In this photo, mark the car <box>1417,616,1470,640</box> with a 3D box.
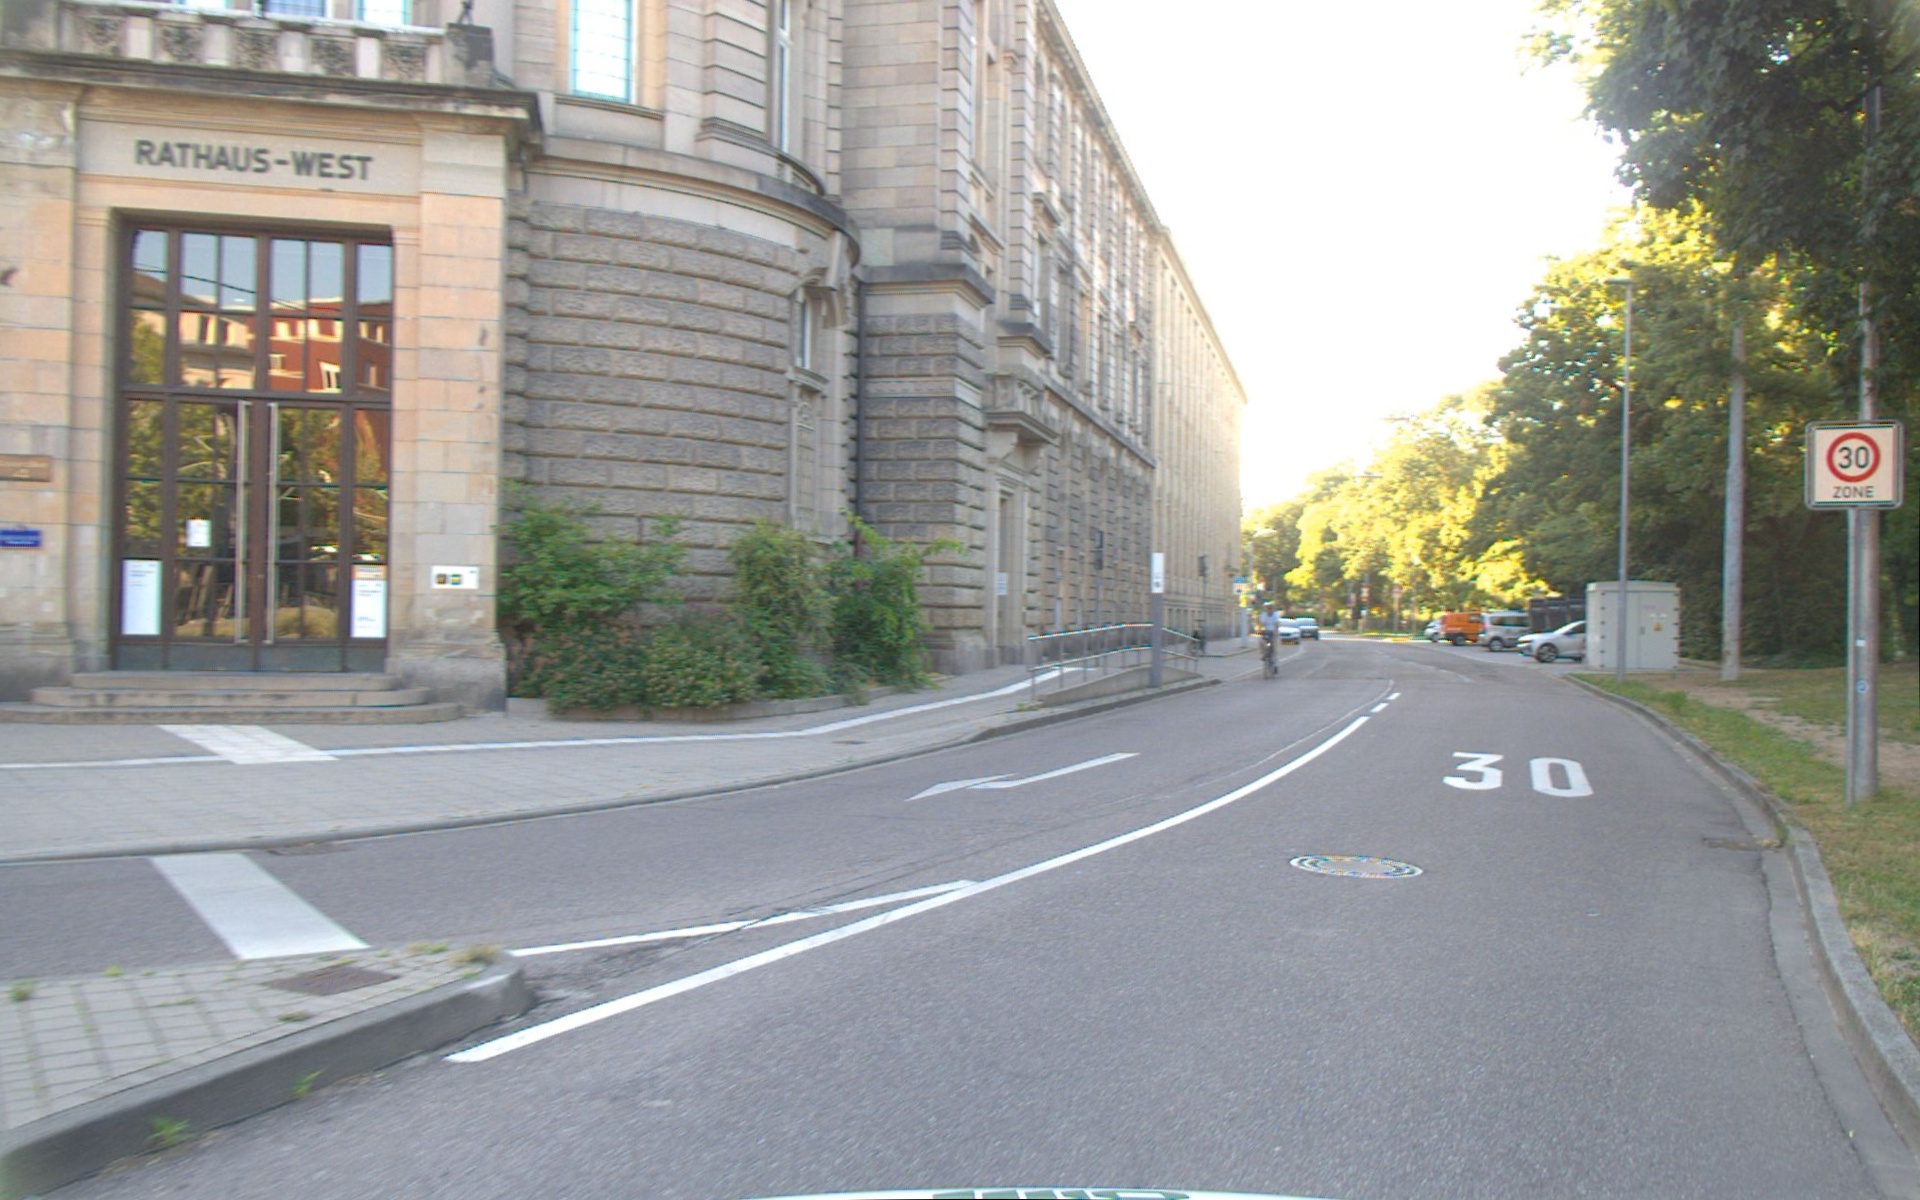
[{"bbox_3d":[31.815,1.838,108.841,3.077,1.529,1.541,-1,-1,6],"label":"car"}]

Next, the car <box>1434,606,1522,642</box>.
[{"bbox_3d":[30.767,1.442,98.412,4.716,2.049,1.803,-1,-1,6],"label":"car"}]

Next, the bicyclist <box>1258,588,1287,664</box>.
[{"bbox_3d":[7.572,0.626,40.053,0.631,1.838,0.781,0,-1,14],"label":"bicyclist"}]

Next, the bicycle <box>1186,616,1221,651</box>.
[{"bbox_3d":[8.216,1.110,55.641,0.834,1.120,1.983,3,0,17],"label":"bicycle"}]

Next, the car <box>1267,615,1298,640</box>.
[{"bbox_3d":[19.038,1.598,97.819,1.690,1.422,4.376,1,0,10],"label":"car"}]

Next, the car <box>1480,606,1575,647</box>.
[{"bbox_3d":[27.260,1.291,79.534,4.138,1.892,2.001,-1,-1,14],"label":"car"}]

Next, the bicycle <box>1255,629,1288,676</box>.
[{"bbox_3d":[7.527,1.243,39.907,0.648,1.089,2.155,0,-1,14],"label":"bicycle"}]

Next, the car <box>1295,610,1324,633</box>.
[{"bbox_3d":[24.186,1.479,114.551,1.838,1.492,4.377,1,0,10],"label":"car"}]

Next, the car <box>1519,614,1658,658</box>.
[{"bbox_3d":[21.936,1.263,57.878,4.346,1.495,1.784,0,-1,12],"label":"car"}]
